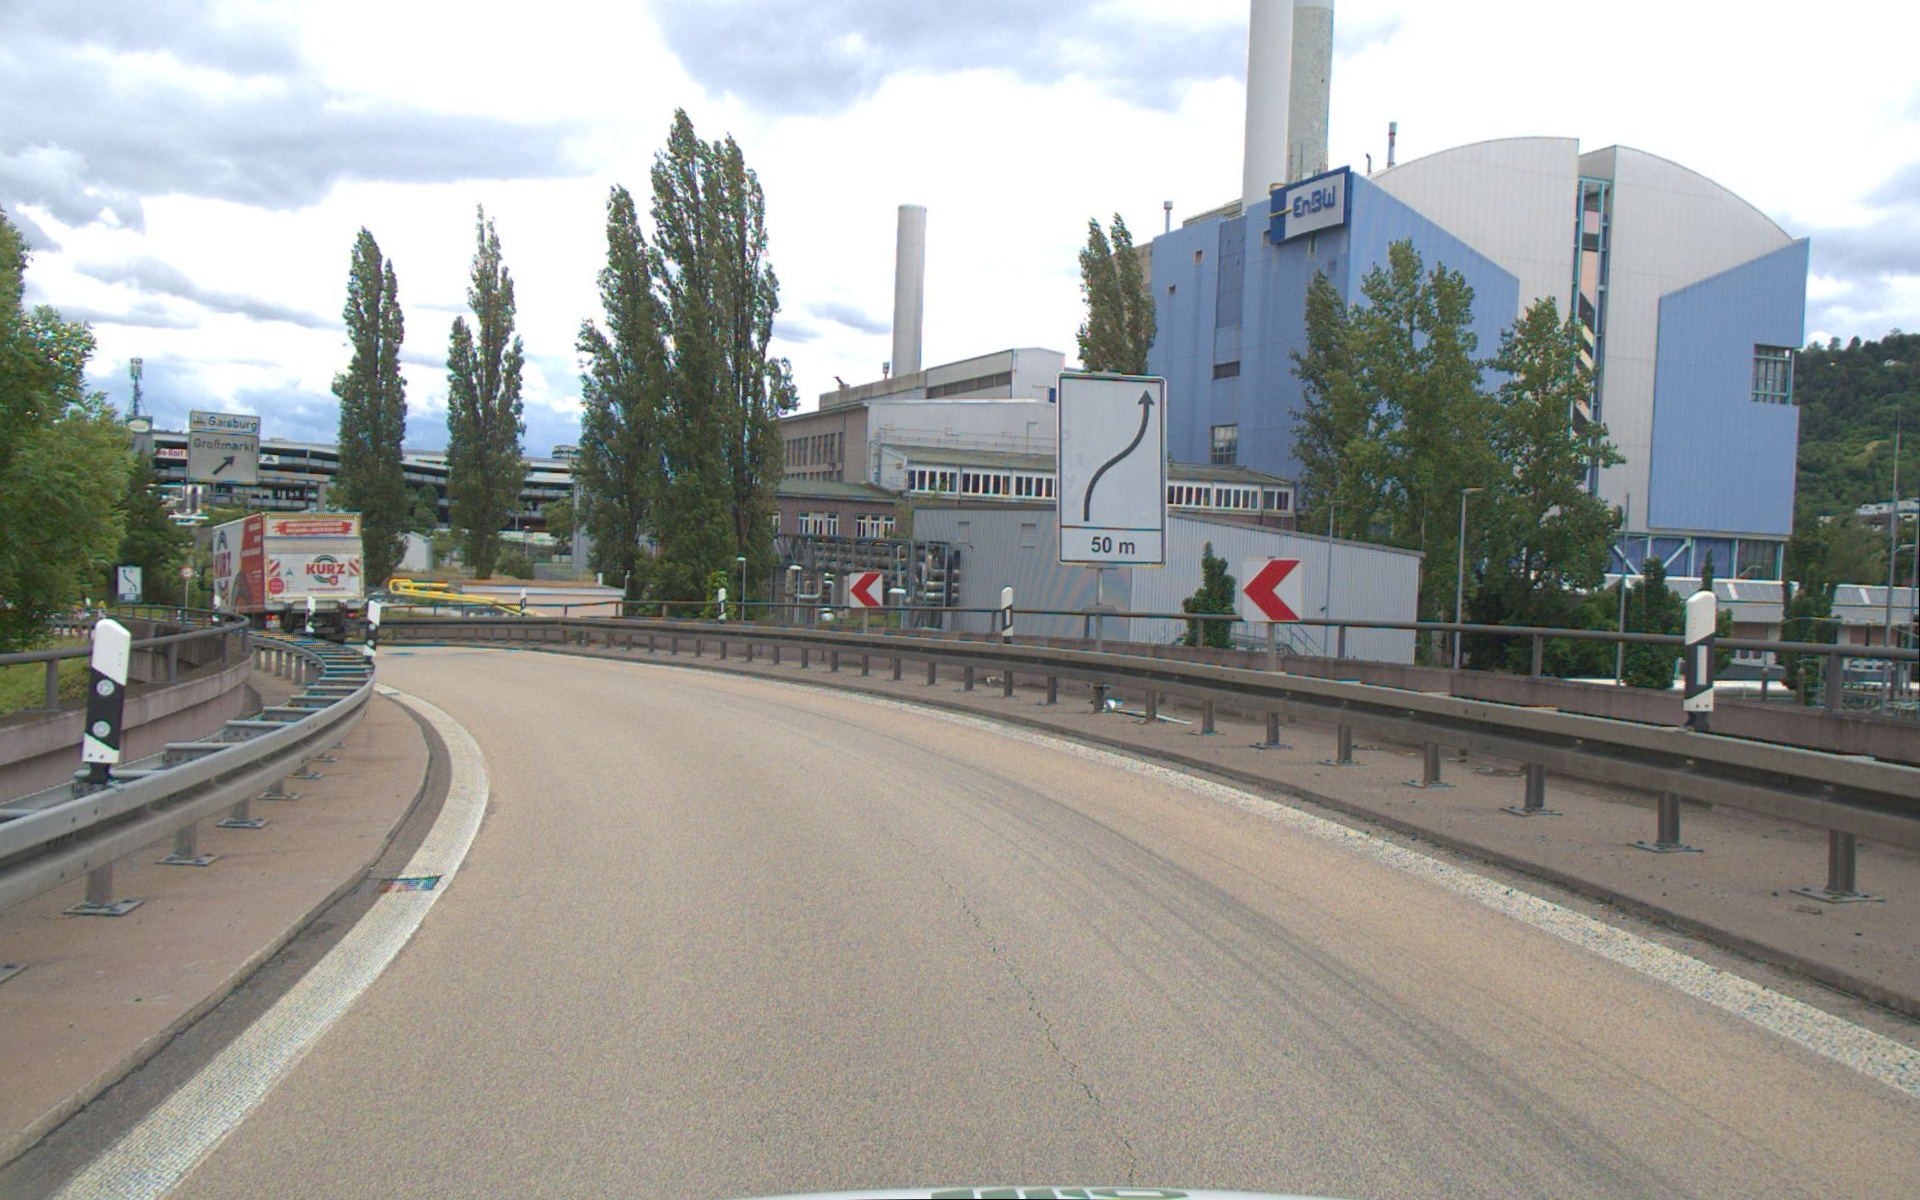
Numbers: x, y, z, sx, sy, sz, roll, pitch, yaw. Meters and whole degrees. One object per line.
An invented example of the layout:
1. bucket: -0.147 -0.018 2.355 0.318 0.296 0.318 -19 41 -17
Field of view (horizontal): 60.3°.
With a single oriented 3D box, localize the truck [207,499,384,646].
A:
1. truck: -18.760 -0.792 46.369 3.024 3.737 7.835 2 1 -34
